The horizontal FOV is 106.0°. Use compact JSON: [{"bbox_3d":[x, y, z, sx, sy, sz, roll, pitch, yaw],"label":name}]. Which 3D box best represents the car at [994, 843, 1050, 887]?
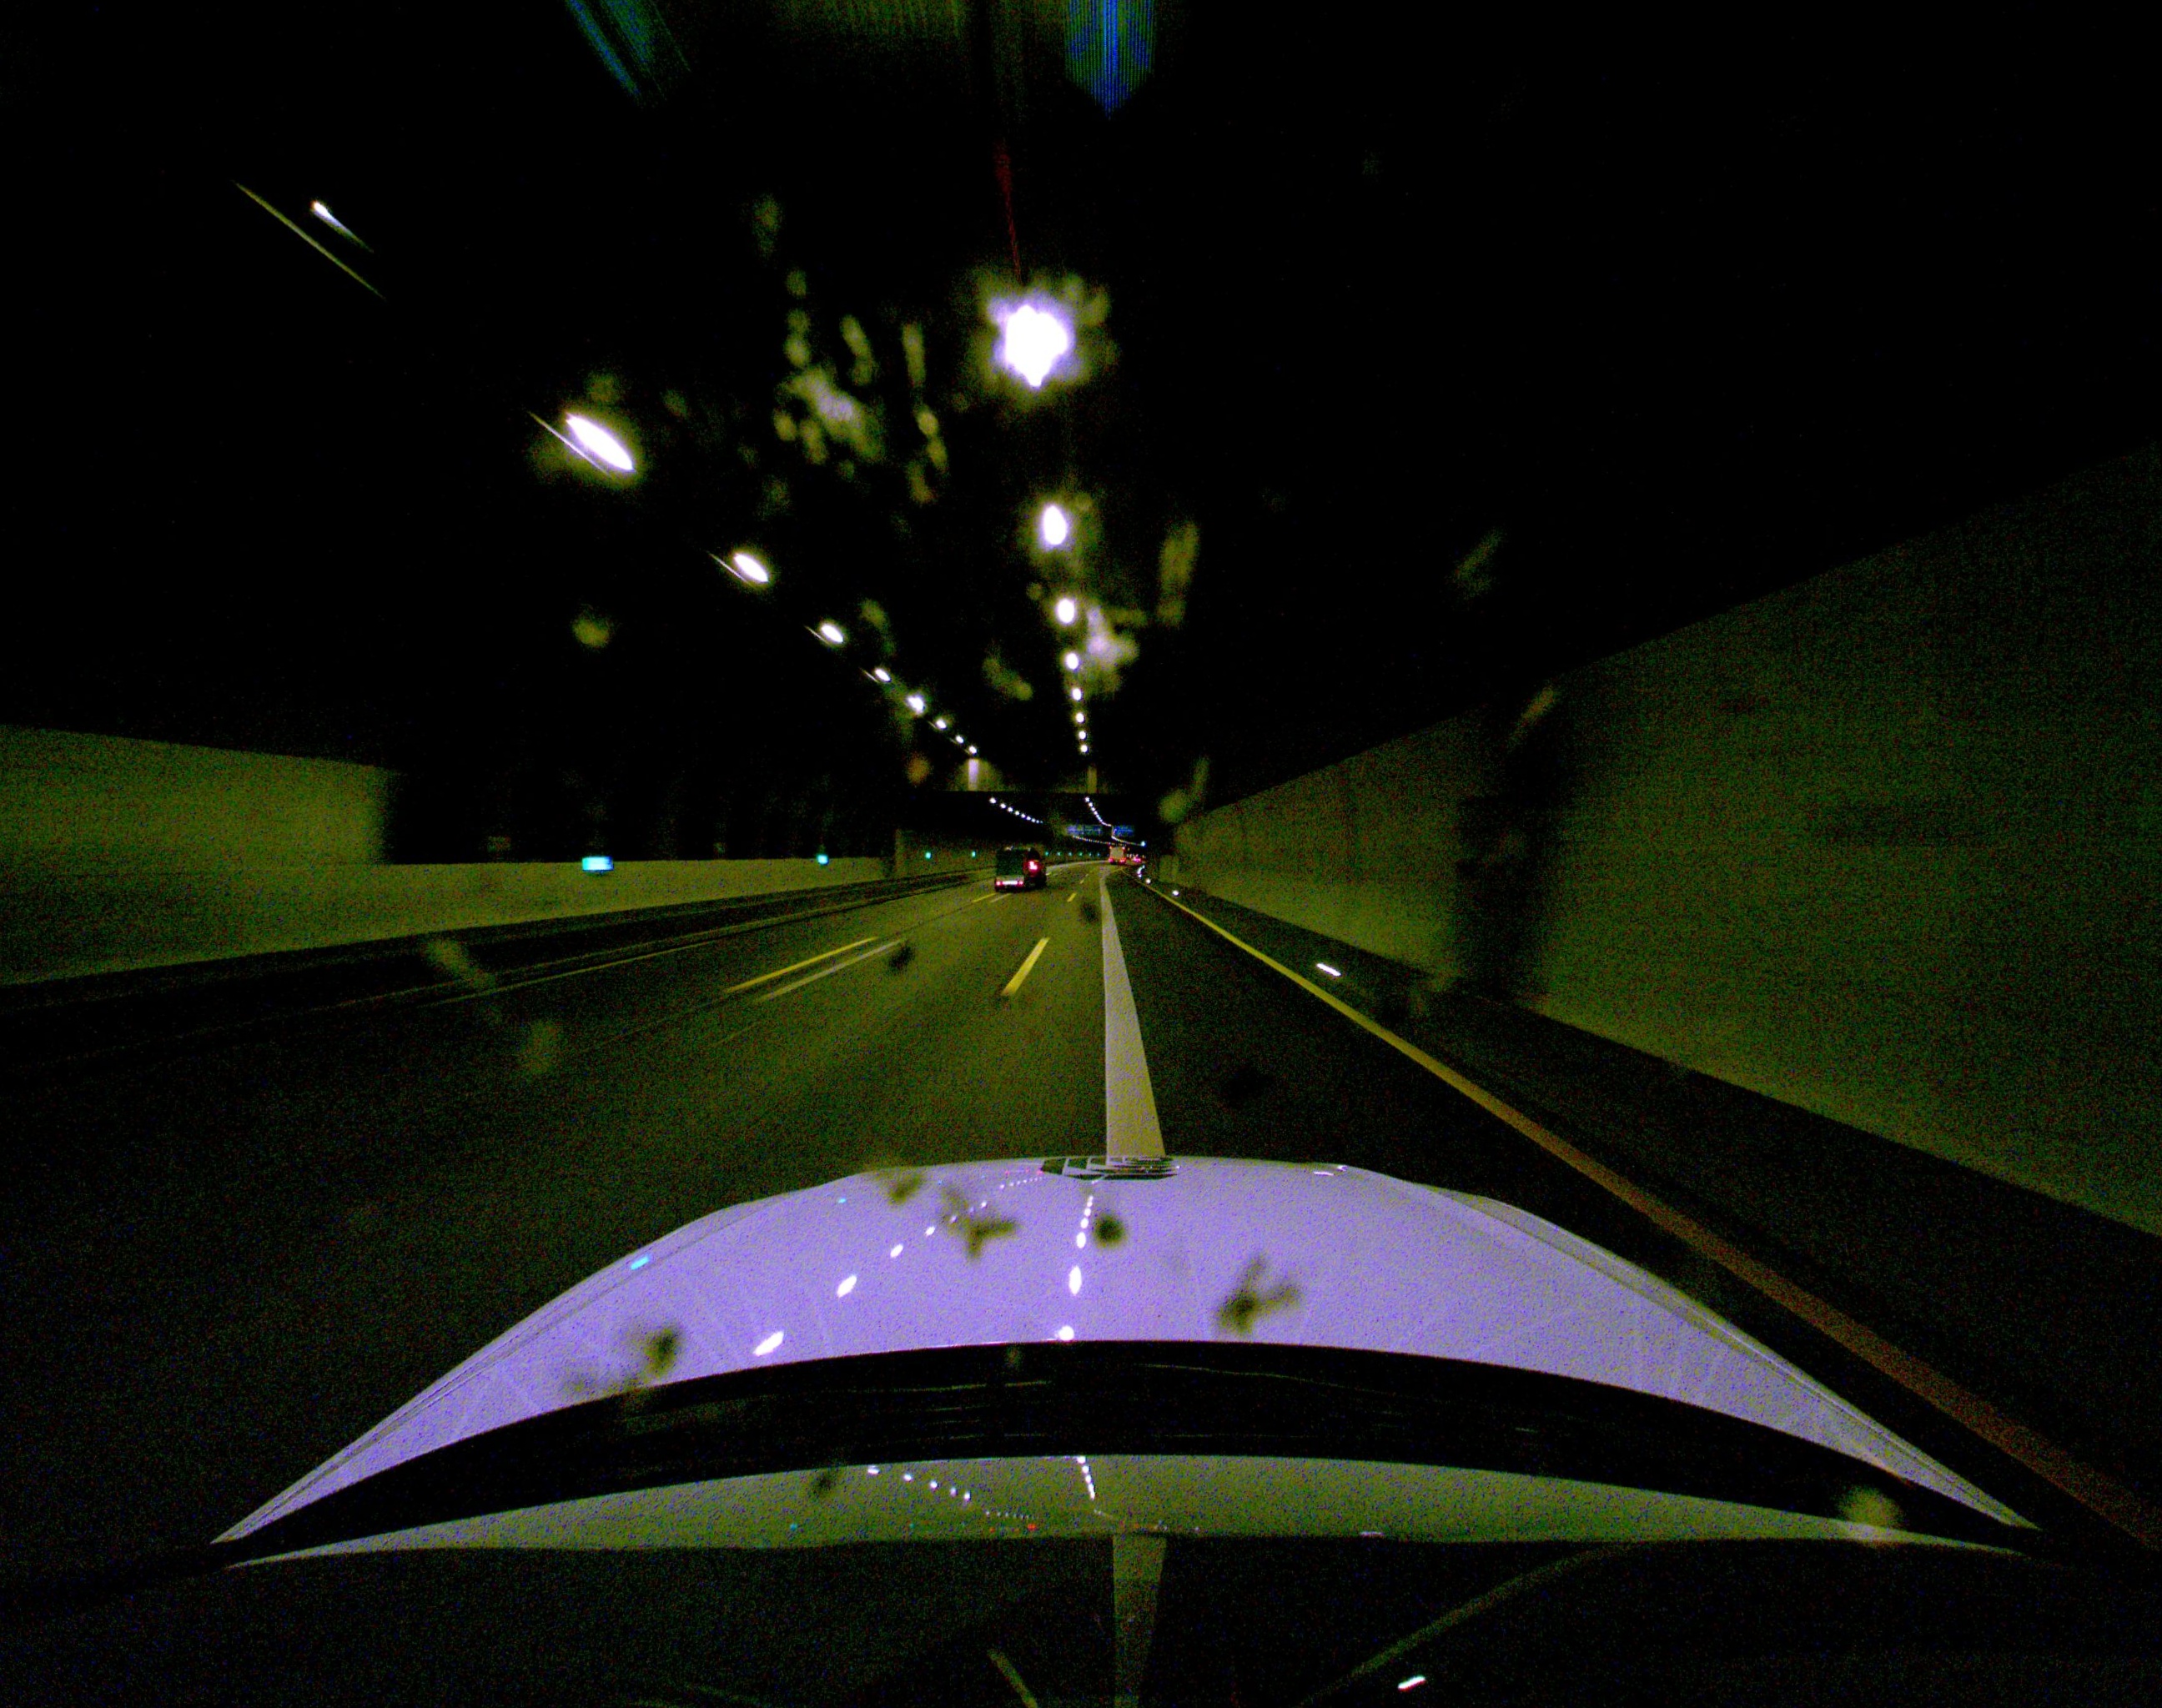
[{"bbox_3d":[-2.752,0.600,39.229,1.986,1.895,5.455,-2,-2,2],"label":"car"}]

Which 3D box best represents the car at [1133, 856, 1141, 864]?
[{"bbox_3d":[15.375,1.551,222.750,1.983,1.895,5.543,-2,0,7],"label":"car"}]

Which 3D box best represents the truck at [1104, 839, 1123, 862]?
[{"bbox_3d":[6.388,-0.805,162.612,3.461,4.315,10.956,-2,1,1],"label":"truck"}]
